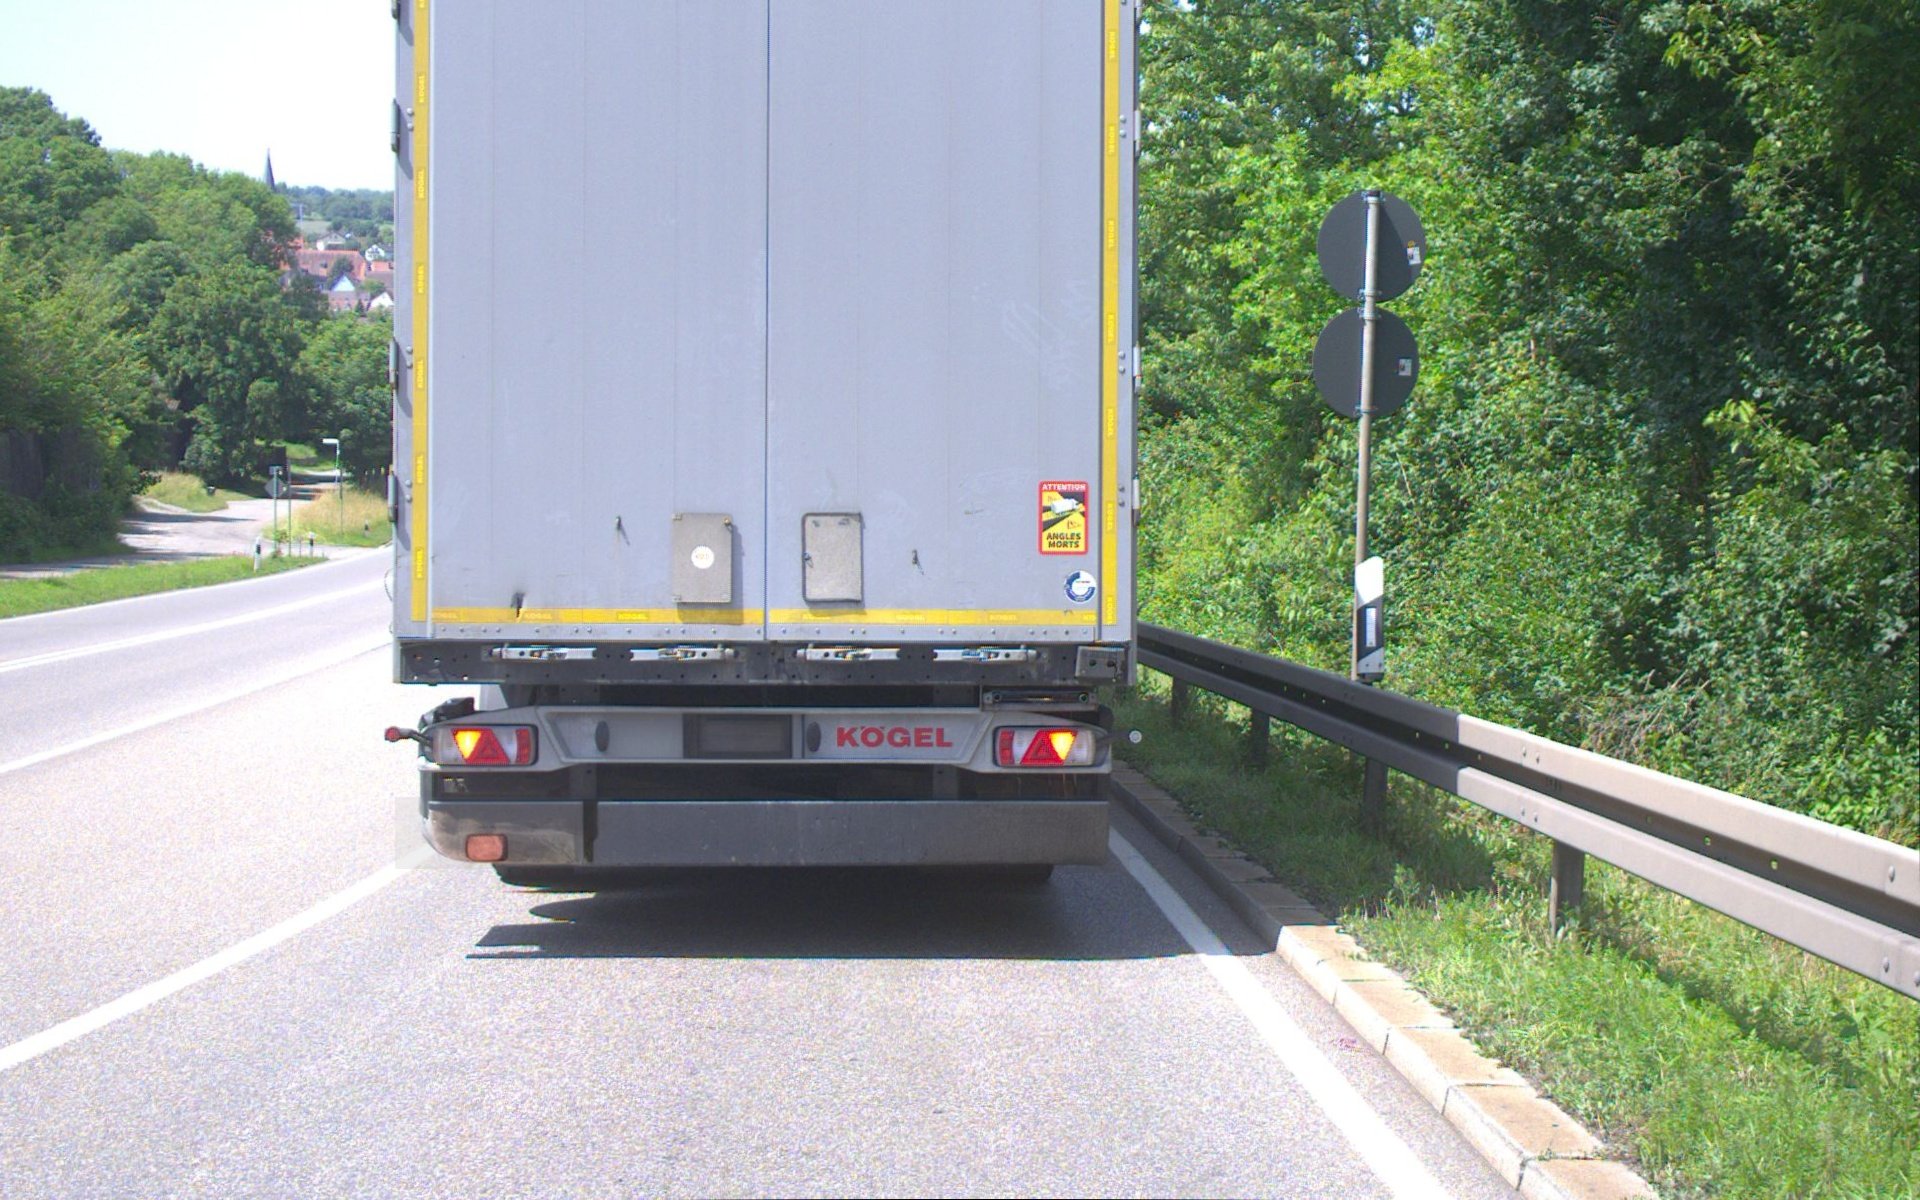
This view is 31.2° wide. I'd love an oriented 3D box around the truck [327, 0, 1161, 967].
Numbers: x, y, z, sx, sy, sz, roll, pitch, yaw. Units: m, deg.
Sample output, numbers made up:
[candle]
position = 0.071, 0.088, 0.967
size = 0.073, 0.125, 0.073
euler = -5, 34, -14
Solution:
[truck]
position = -0.783, -0.932, 17.418
size = 2.757, 4.016, 11.925
euler = 0, 1, -1
